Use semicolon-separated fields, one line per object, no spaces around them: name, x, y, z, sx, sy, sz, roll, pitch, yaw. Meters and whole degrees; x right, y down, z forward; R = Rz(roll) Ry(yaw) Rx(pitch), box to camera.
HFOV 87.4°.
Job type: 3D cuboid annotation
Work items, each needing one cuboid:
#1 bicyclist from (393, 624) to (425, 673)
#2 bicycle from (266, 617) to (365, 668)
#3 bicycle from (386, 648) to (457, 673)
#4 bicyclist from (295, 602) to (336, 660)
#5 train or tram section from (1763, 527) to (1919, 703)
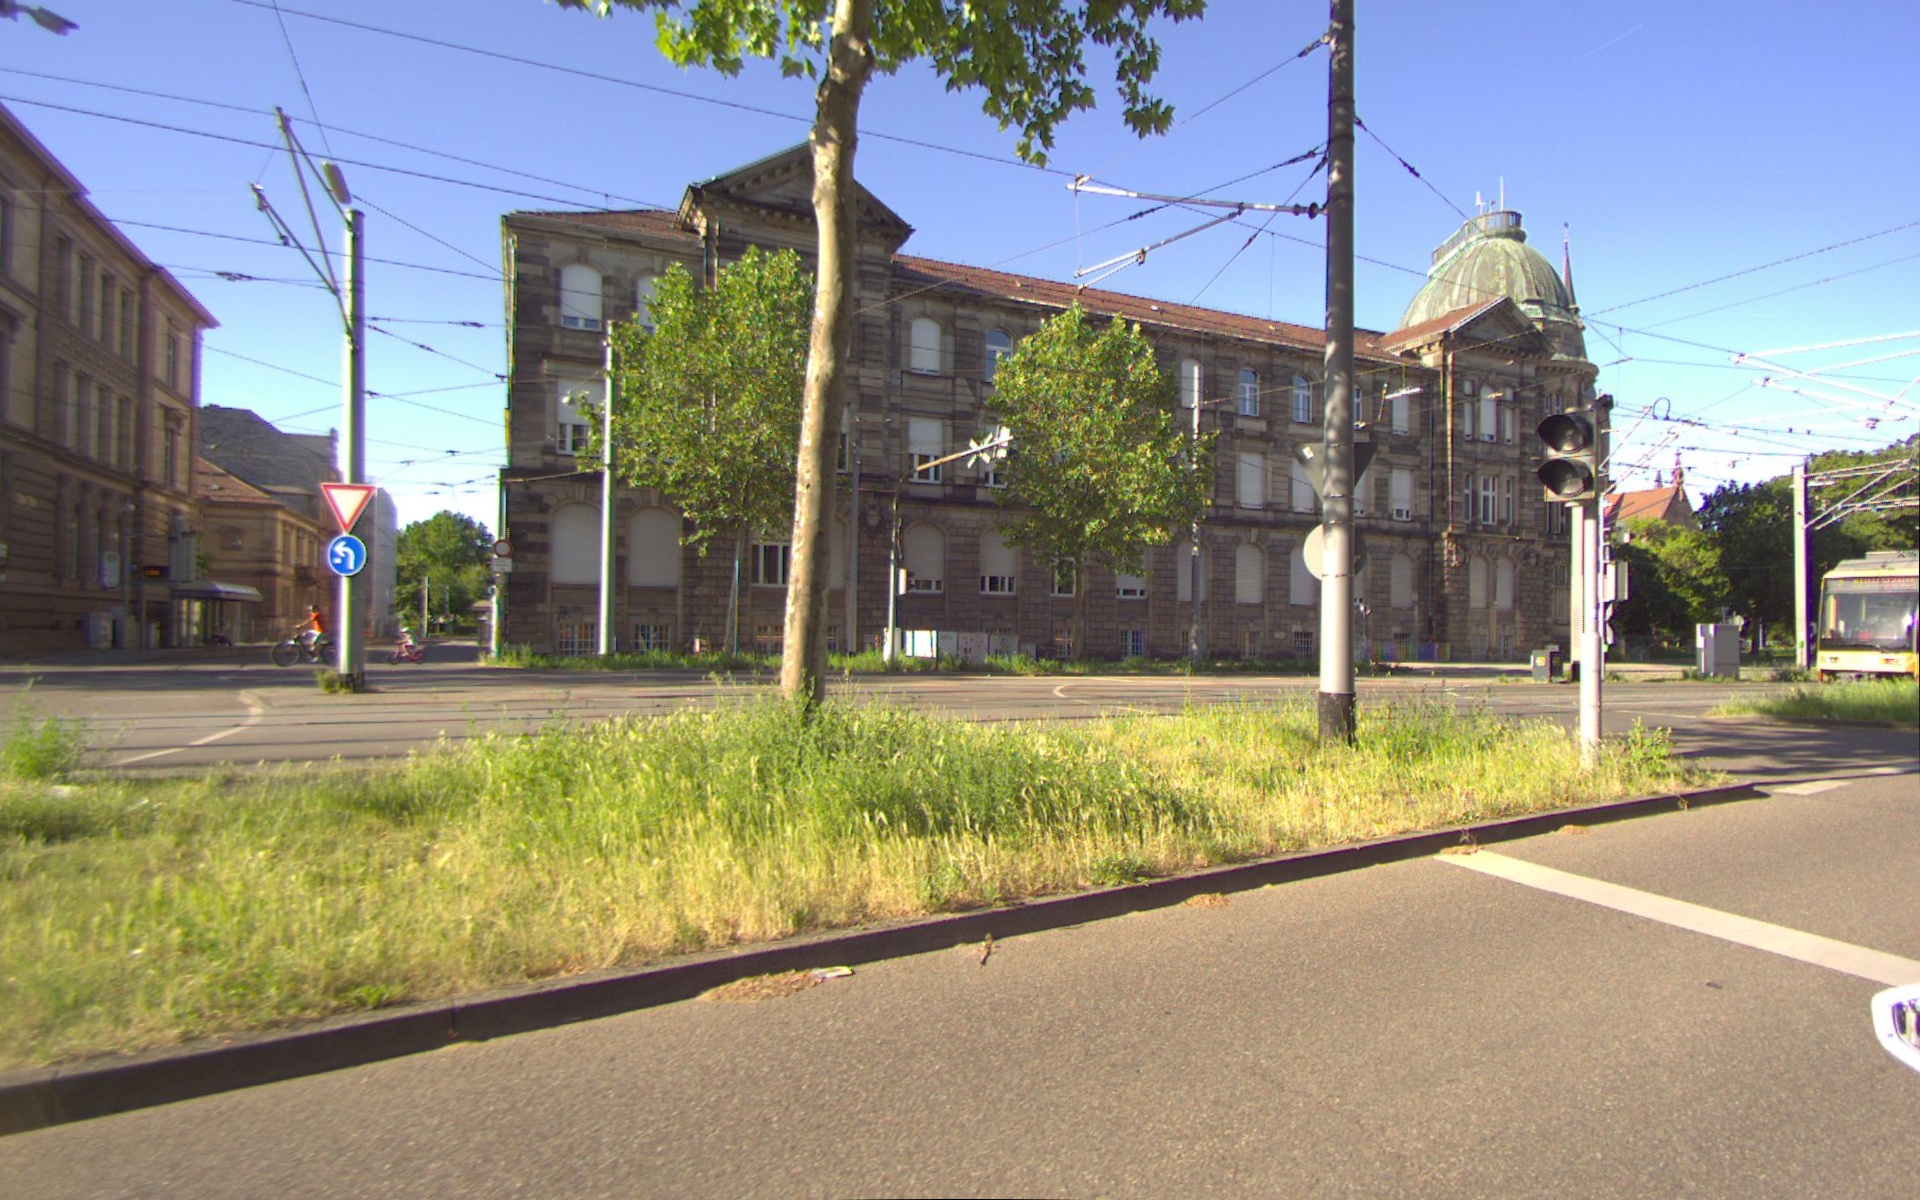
bicyclist;-17.146;1.509;31.262;0.724;1.481;0.788;2;0;-39
bicycle;-18.514;1.219;28.894;2.333;1.408;0.520;2;0;-42
bicycle;-16.898;1.886;31.547;1.885;0.732;0.520;2;0;-39
bicyclist;-18.546;0.889;28.904;0.865;1.646;0.667;2;0;-42
train or tram section;26.679;0.551;26.526;14.090;3.863;2.918;2;0;-27
